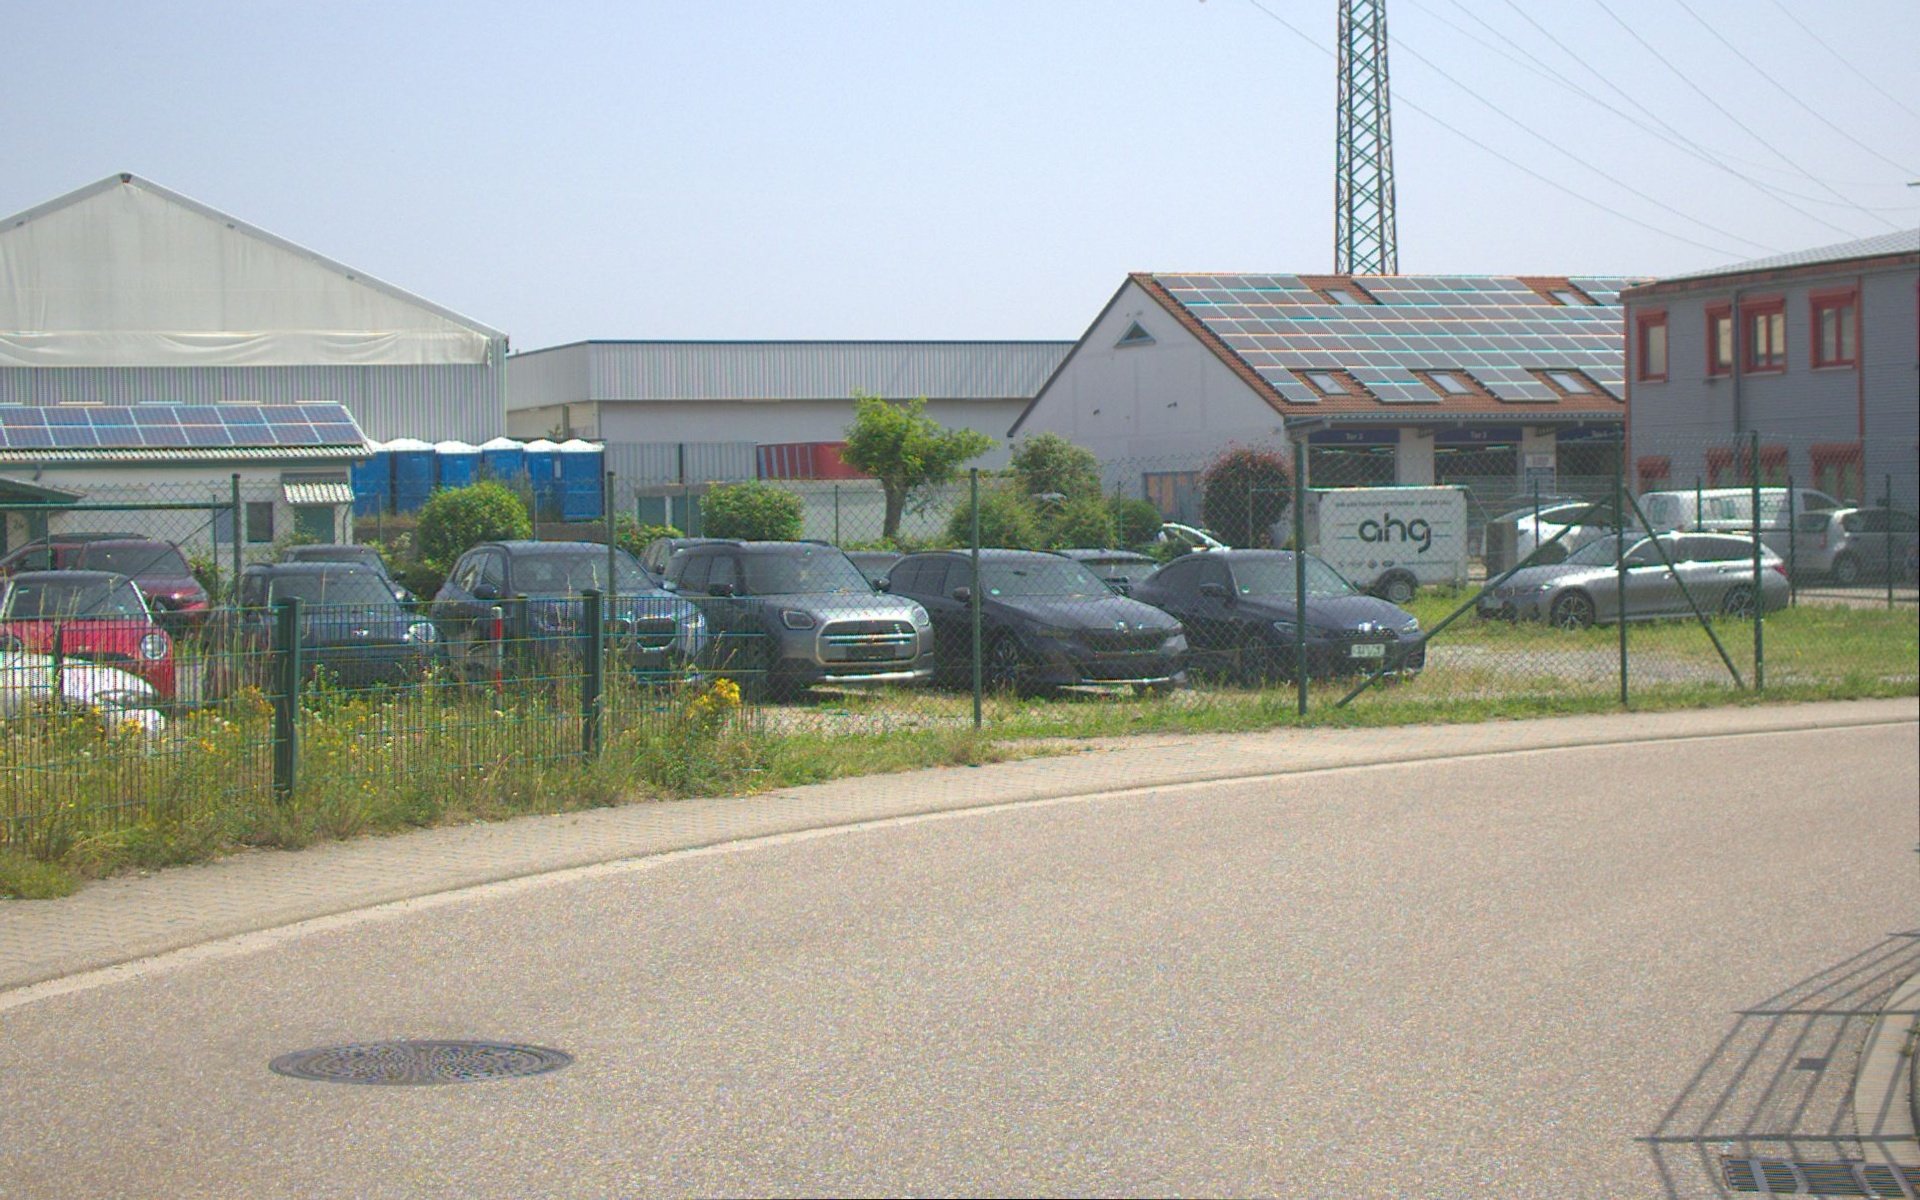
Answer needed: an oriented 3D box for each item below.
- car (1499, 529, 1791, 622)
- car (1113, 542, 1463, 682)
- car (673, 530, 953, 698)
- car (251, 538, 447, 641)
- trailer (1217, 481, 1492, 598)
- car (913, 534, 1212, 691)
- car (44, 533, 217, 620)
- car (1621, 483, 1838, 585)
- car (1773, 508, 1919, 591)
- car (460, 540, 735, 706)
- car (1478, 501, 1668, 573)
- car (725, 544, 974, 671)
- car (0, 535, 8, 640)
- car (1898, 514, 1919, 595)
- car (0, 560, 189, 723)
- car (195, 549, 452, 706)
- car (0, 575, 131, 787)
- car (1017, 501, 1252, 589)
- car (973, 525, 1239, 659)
[{"bbox_3d":[9.931,-0.374,49.790,4.127,1.256,1.235,-1,2,-21],"label":"car"},{"bbox_3d":[3.541,0.080,38.055,1.995,1.430,4.667,-1,1,-21],"label":"car"},{"bbox_3d":[-1.588,0.099,35.810,1.862,1.638,3.635,-1,1,-21],"label":"car"},{"bbox_3d":[-9.049,-0.187,50.609,1.995,1.430,4.667,-1,1,-21],"label":"car"},{"bbox_3d":[6.810,-1.064,59.538,4.447,1.938,1.715,-1,2,-5],"label":"trailer"},{"bbox_3d":[1.029,0.088,36.452,1.862,1.549,3.772,-1,1,-21],"label":"car"},{"bbox_3d":[-12.007,-0.362,49.568,1.862,1.171,4.605,-1,1,-21],"label":"car"},{"bbox_3d":[15.436,-1.333,68.982,3.893,1.972,1.824,-1,2,-21],"label":"car"},{"bbox_3d":[17.746,-0.997,66.739,3.591,1.538,1.508,-1,2,-21],"label":"car"},{"bbox_3d":[-3.711,0.183,34.665,1.862,1.556,3.698,-1,1,-21],"label":"car"},{"bbox_3d":[13.513,-1.404,75.738,3.893,1.510,1.508,-1,2,-21],"label":"car"},{"bbox_3d":[-1.416,0.053,42.267,1.993,1.415,4.001,-1,2,-18],"label":"car"},{"bbox_3d":[-14.588,-0.195,48.413,1.862,1.428,4.605,-1,1,-21],"label":"car"},{"bbox_3d":[18.510,-0.835,60.634,3.591,1.411,1.508,-1,2,-21],"label":"car"},{"bbox_3d":[-8.613,0.357,33.069,1.862,1.448,3.442,-1,1,-21],"label":"car"},{"bbox_3d":[-6.340,0.225,33.947,1.862,1.428,3.650,-1,1,-21],"label":"car"},{"bbox_3d":[-7.727,0.526,21.933,4.546,1.302,1.869,-1,1,-20],"label":"car"},{"bbox_3d":[3.260,-1.045,64.419,3.986,1.593,1.877,-1,1,-19],"label":"car"},{"bbox_3d":[1.765,-0.147,43.300,1.995,1.430,4.424,-1,3,-17],"label":"car"}]
